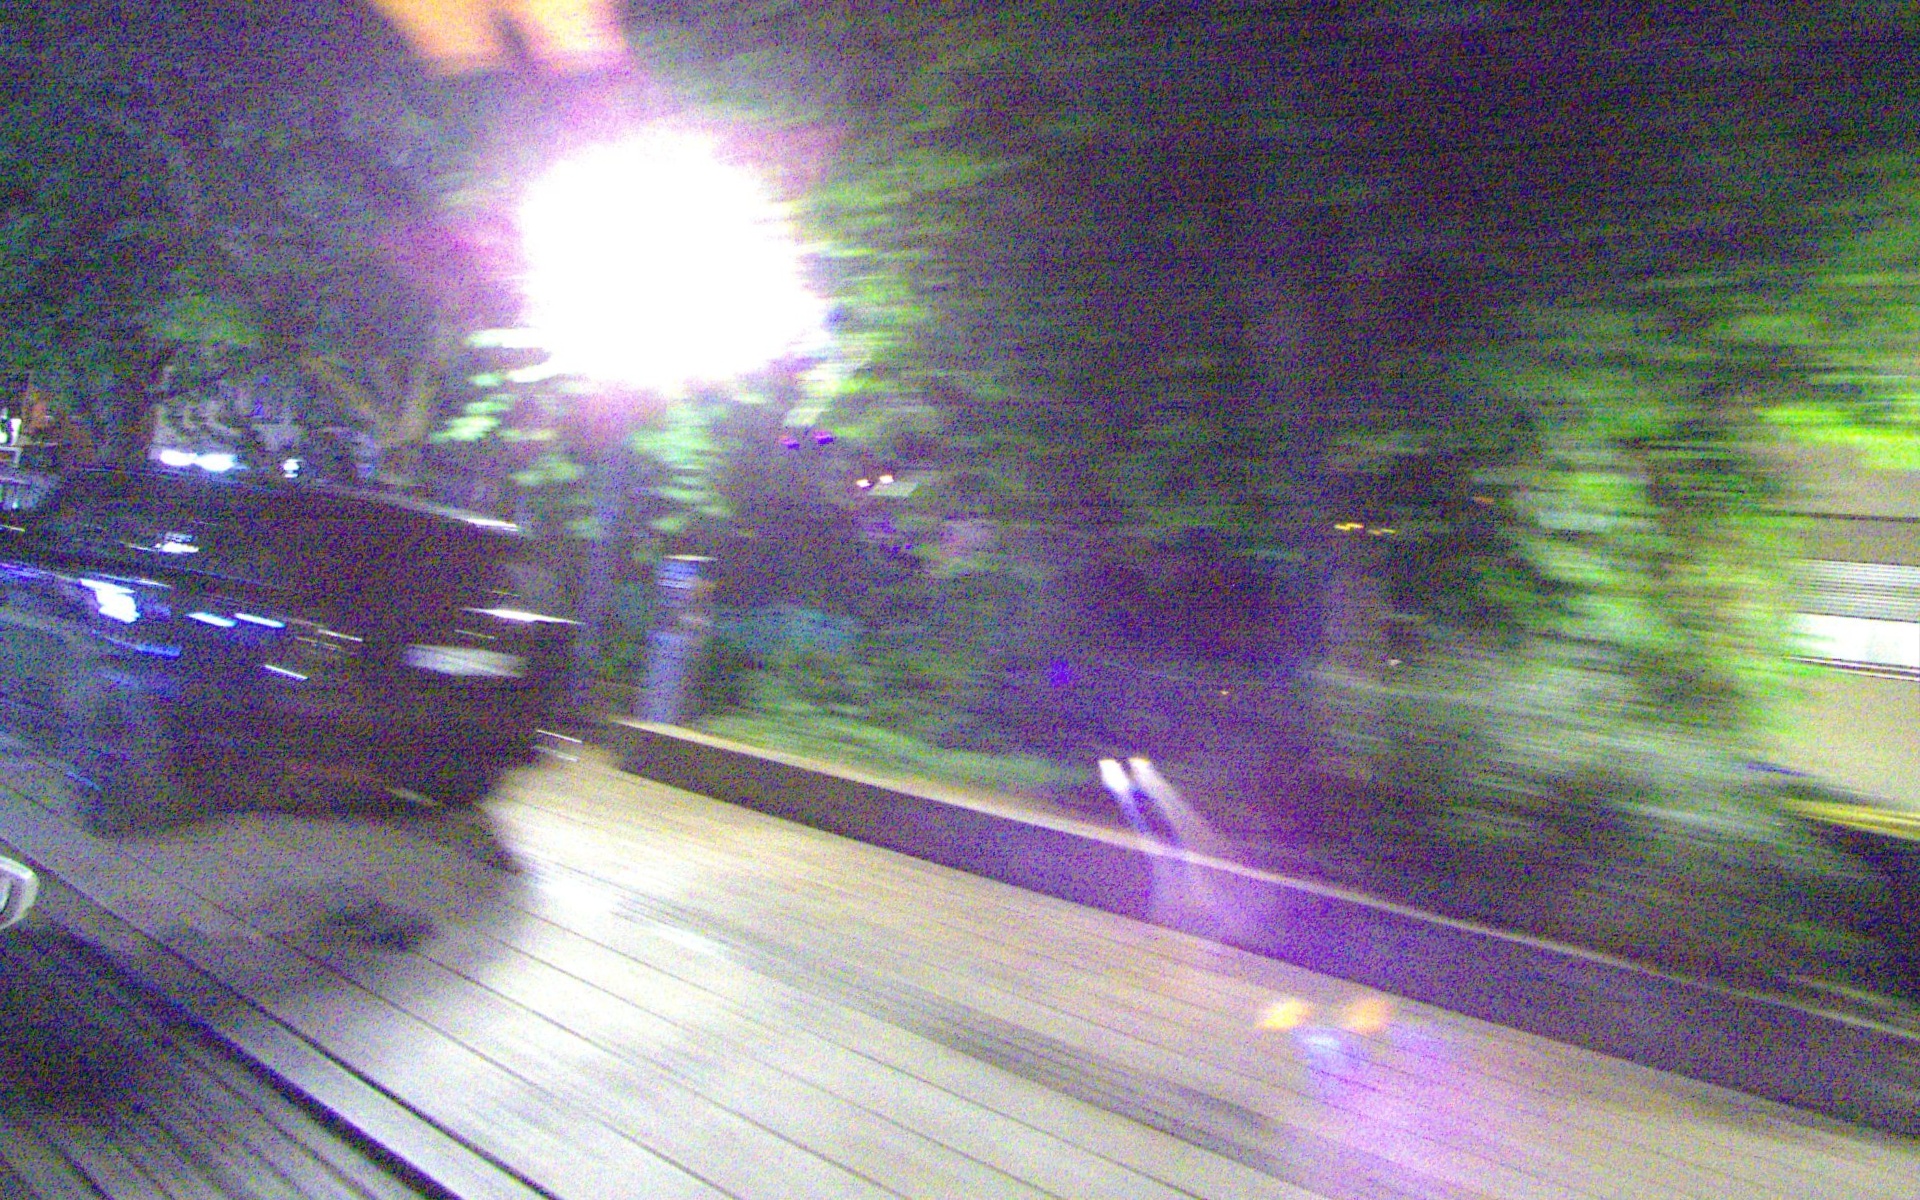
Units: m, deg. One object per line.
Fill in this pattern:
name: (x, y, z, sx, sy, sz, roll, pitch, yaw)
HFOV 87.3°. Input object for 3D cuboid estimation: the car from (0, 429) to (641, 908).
car: (-4.423, 0.132, 5.957, 4.853, 1.824, 1.911, 7, -1, 30)
